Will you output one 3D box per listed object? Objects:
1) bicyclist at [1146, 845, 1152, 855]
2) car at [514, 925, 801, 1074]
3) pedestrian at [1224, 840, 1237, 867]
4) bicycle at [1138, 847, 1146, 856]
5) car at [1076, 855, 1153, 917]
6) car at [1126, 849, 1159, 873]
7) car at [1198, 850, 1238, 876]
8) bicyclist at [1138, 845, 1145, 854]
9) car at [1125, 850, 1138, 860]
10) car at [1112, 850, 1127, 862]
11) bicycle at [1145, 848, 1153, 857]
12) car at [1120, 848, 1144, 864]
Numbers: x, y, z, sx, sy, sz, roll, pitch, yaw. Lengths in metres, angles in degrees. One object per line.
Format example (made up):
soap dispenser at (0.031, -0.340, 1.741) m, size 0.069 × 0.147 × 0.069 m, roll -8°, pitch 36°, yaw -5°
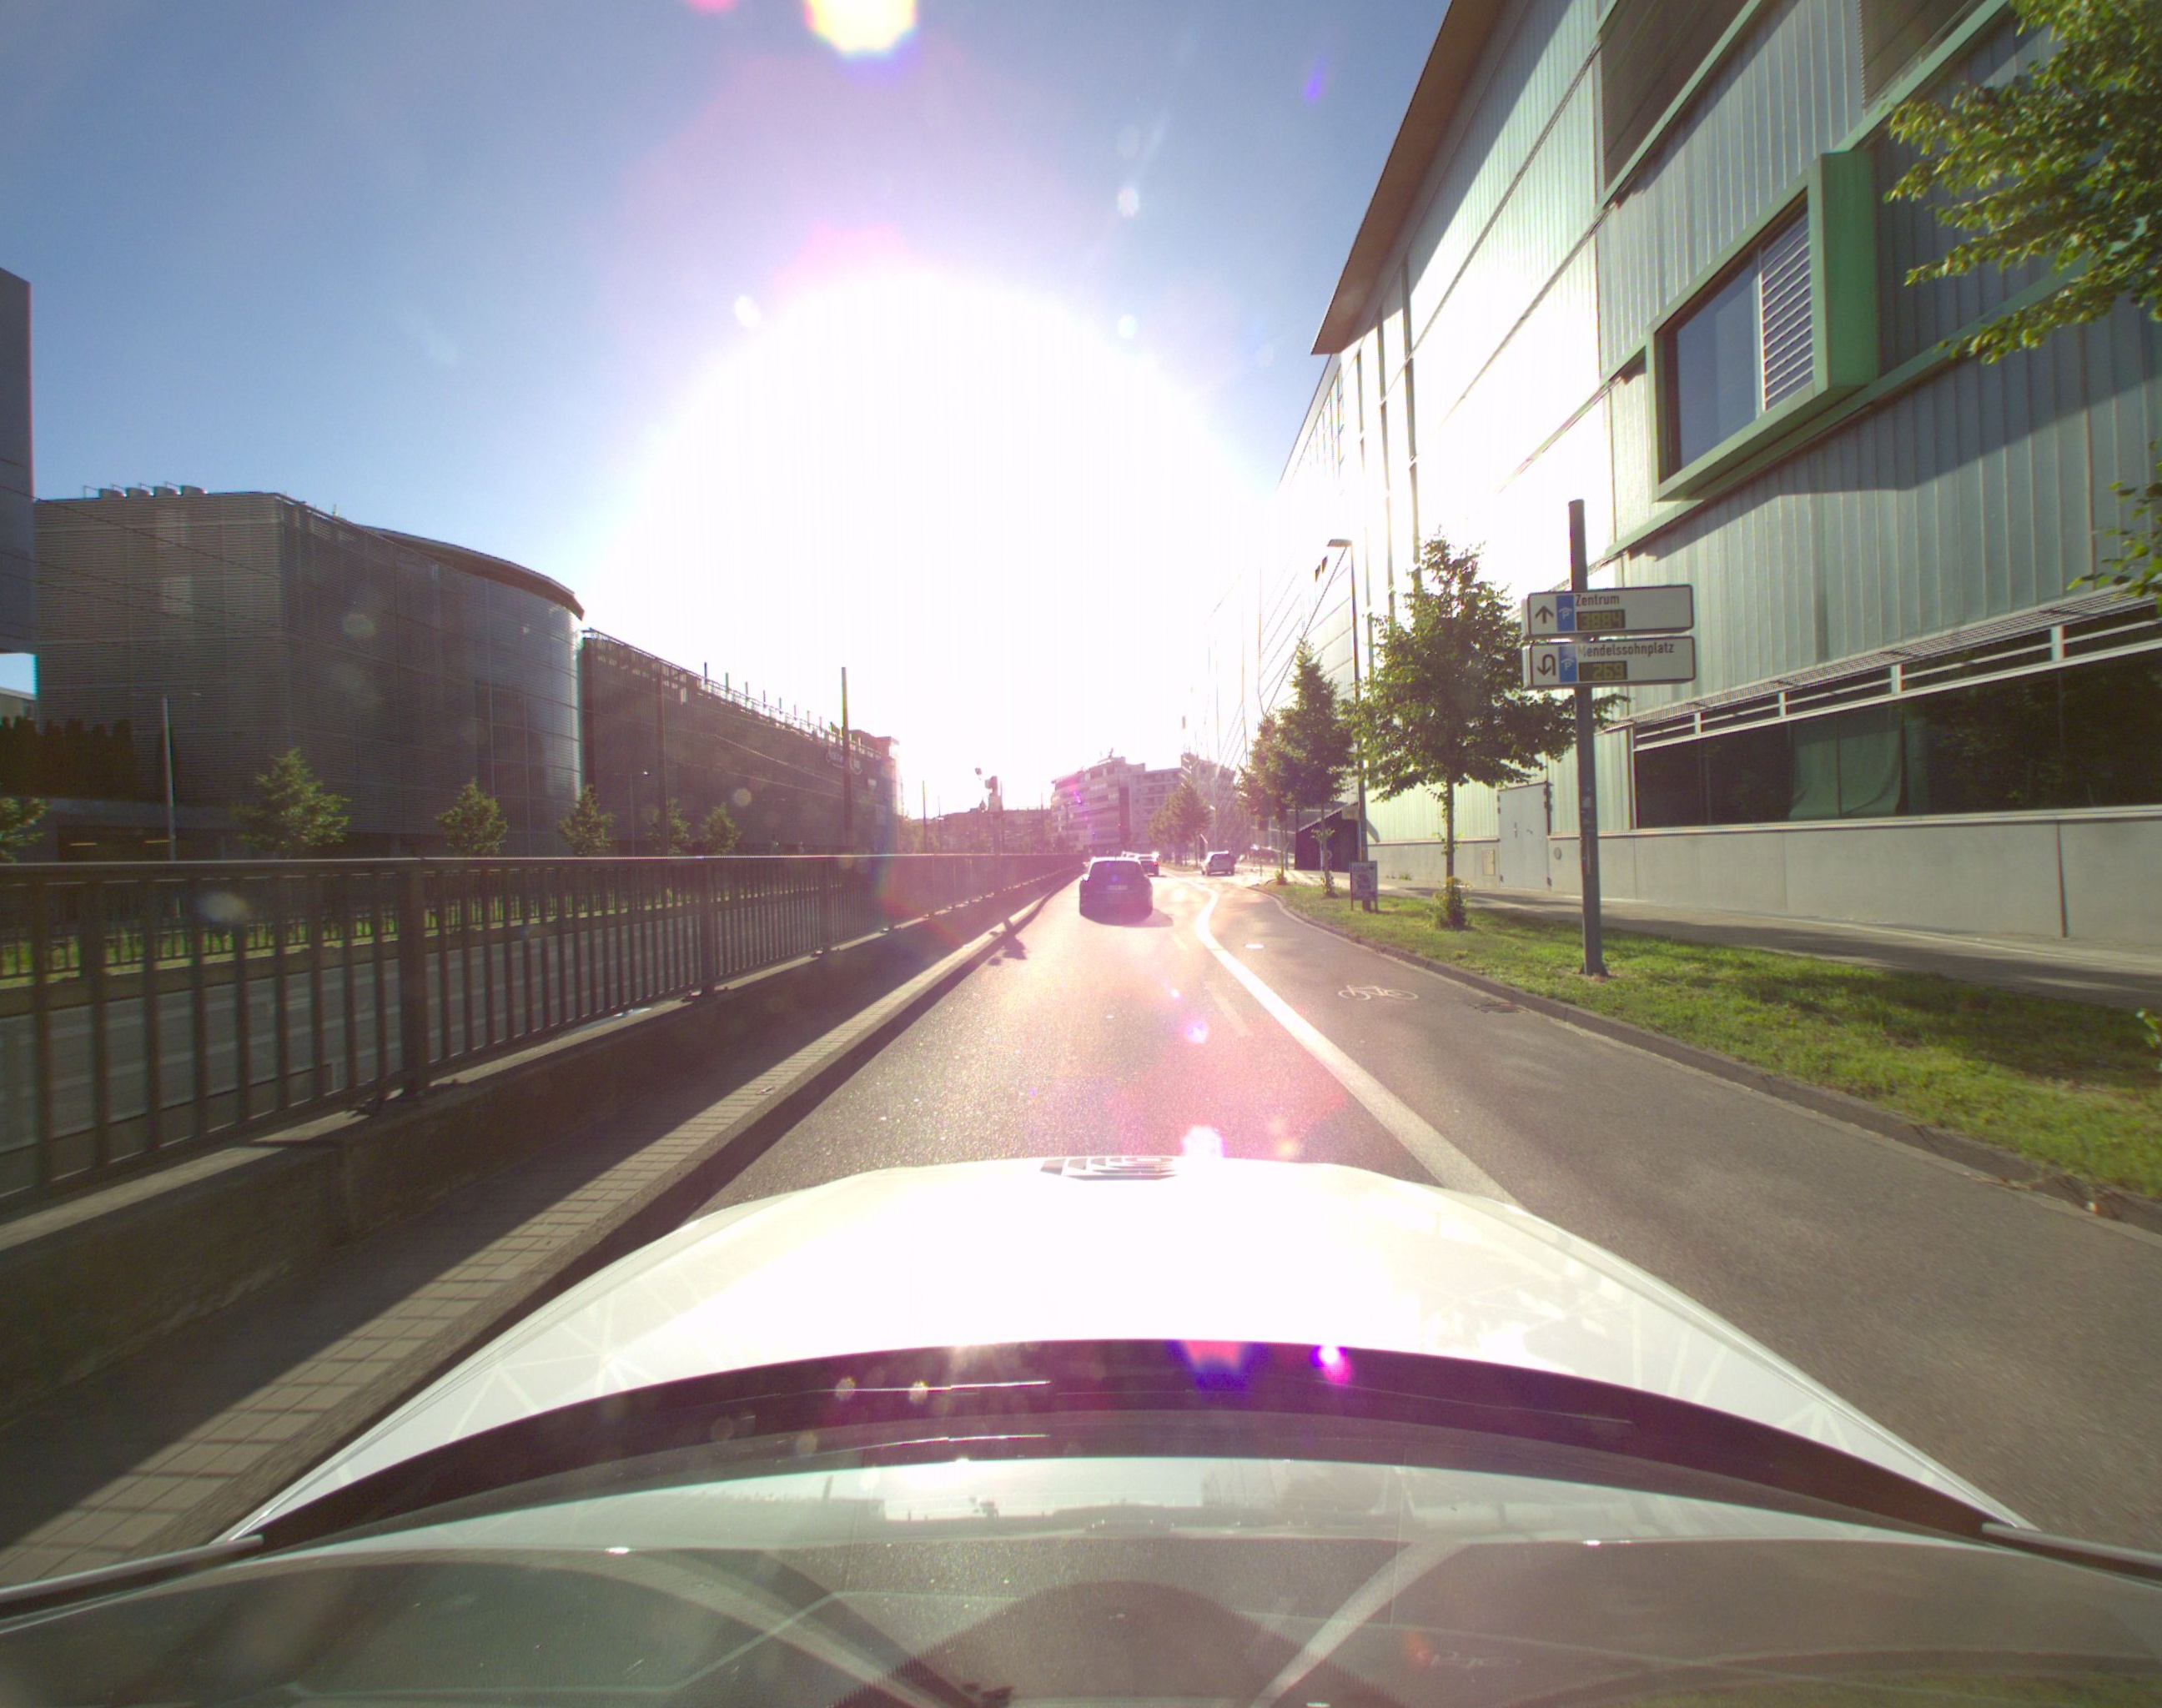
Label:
bicyclist at (9.896, -0.627, 119.004) m, size 0.723 × 1.418 × 0.890 m, roll -3°, pitch 0°, yaw -5°
car at (-6.518, 2.148, 13.333) m, size 1.790 × 1.527 × 4.917 m, roll 0°, pitch 0°, yaw 5°
pedestrian at (11.389, -0.014, 62.087) m, size 0.833 × 2.013 × 0.690 m, roll -3°, pitch 0°, yaw 2°
bicycle at (8.675, -0.376, 115.754) m, size 0.723 × 1.184 × 2.089 m, roll -3°, pitch 0°, yaw -6°
car at (0.879, 0.774, 22.009) m, size 1.806 × 1.427 × 4.691 m, roll -2°, pitch 0°, yaw 1°
car at (4.079, 0.454, 54.584) m, size 1.847 × 1.546 × 3.998 m, roll -1°, pitch 0°, yaw -1°
car at (8.788, 0.525, 52.610) m, size 1.846 × 1.481 × 4.855 m, roll -4°, pitch 0°, yaw 2°
bicyclist at (8.599, -0.602, 115.748) m, size 0.723 × 1.269 × 1.033 m, roll -3°, pitch 0°, yaw -6°
car at (7.783, 0.099, 125.177) m, size 1.985 × 1.465 × 4.004 m, roll -1°, pitch 1°, yaw 4°
car at (5.378, 0.257, 112.512) m, size 1.985 × 1.465 × 4.004 m, roll -1°, pitch 1°, yaw 4°
bicycle at (9.903, -0.236, 118.981) m, size 0.723 × 1.184 × 2.090 m, roll -3°, pitch 0°, yaw -5°
car at (4.908, 0.162, 79.151) m, size 1.987 × 1.465 × 3.999 m, roll -1°, pitch 1°, yaw -1°
